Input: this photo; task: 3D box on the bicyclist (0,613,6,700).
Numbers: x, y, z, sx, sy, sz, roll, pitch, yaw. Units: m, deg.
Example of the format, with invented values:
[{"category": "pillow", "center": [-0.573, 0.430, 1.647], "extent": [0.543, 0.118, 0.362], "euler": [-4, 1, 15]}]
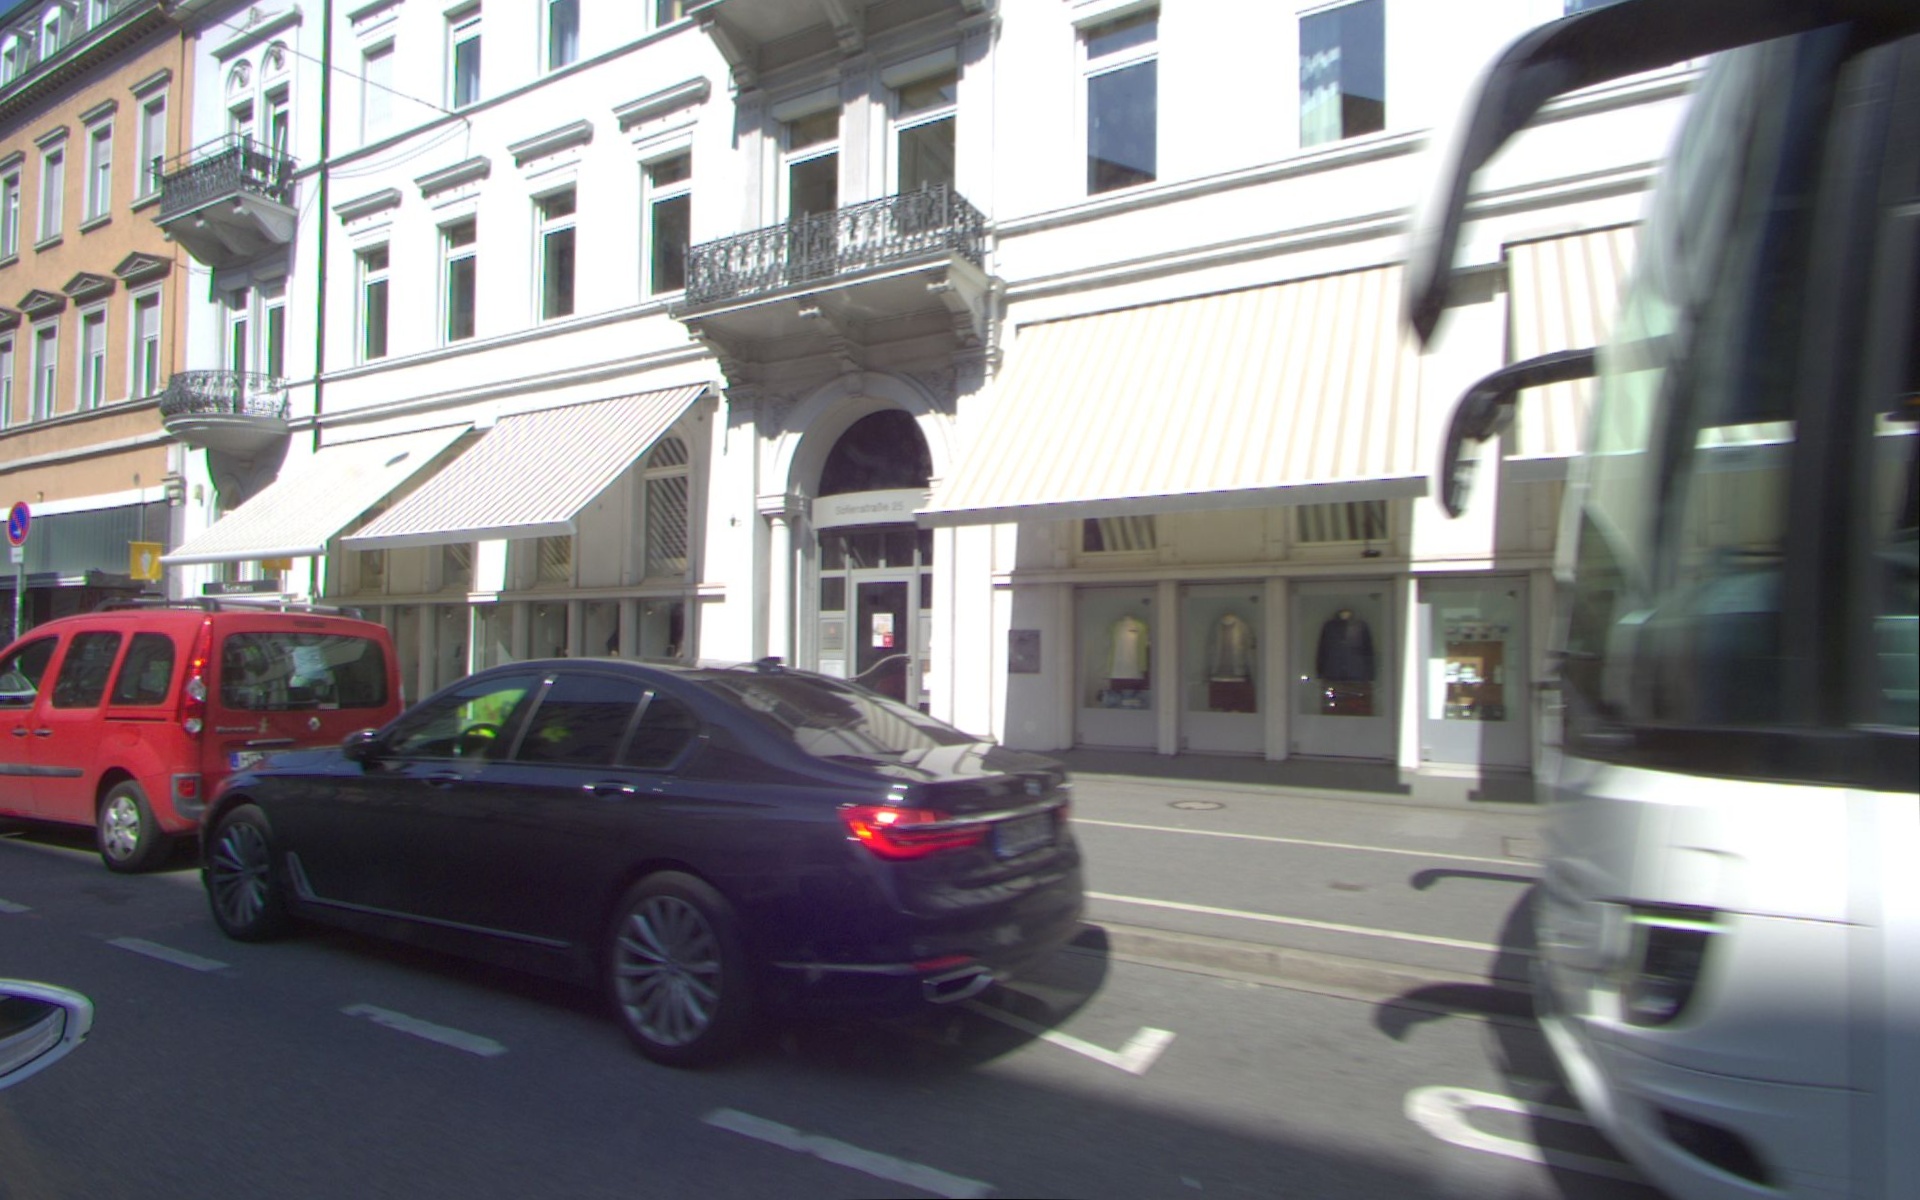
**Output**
[{"category": "bicyclist", "center": [-18.431, 1.046, 18.735], "extent": [0.906, 1.615, 0.582], "euler": [0, -2, 31]}]

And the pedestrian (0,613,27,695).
[{"category": "pedestrian", "center": [-20.822, 1.159, 21.637], "extent": [0.826, 1.739, 0.874], "euler": [-1, -2, 41]}]

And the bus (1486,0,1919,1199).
[{"category": "bus", "center": [7.204, -0.259, 0.495], "extent": [12.232, 3.786, 2.883], "euler": [-1, -5, 28]}]

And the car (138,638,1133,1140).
[{"category": "car", "center": [-1.883, 1.005, 5.168], "extent": [5.146, 1.487, 1.859], "euler": [-1, -5, 30]}]

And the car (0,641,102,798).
[{"category": "car", "center": [-11.310, 1.132, 10.499], "extent": [4.506, 1.484, 1.815], "euler": [1, -4, 26]}]

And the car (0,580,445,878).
[{"category": "car", "center": [-6.496, 0.890, 8.105], "extent": [4.283, 1.886, 1.829], "euler": [0, -4, 25]}]

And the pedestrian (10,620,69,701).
[{"category": "pedestrian", "center": [-19.862, 1.285, 21.614], "extent": [0.930, 1.706, 0.646], "euler": [0, -2, 30]}]

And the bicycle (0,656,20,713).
[{"category": "bicycle", "center": [-18.276, 1.547, 18.643], "extent": [2.072, 1.009, 0.563], "euler": [-1, -2, 31]}]
